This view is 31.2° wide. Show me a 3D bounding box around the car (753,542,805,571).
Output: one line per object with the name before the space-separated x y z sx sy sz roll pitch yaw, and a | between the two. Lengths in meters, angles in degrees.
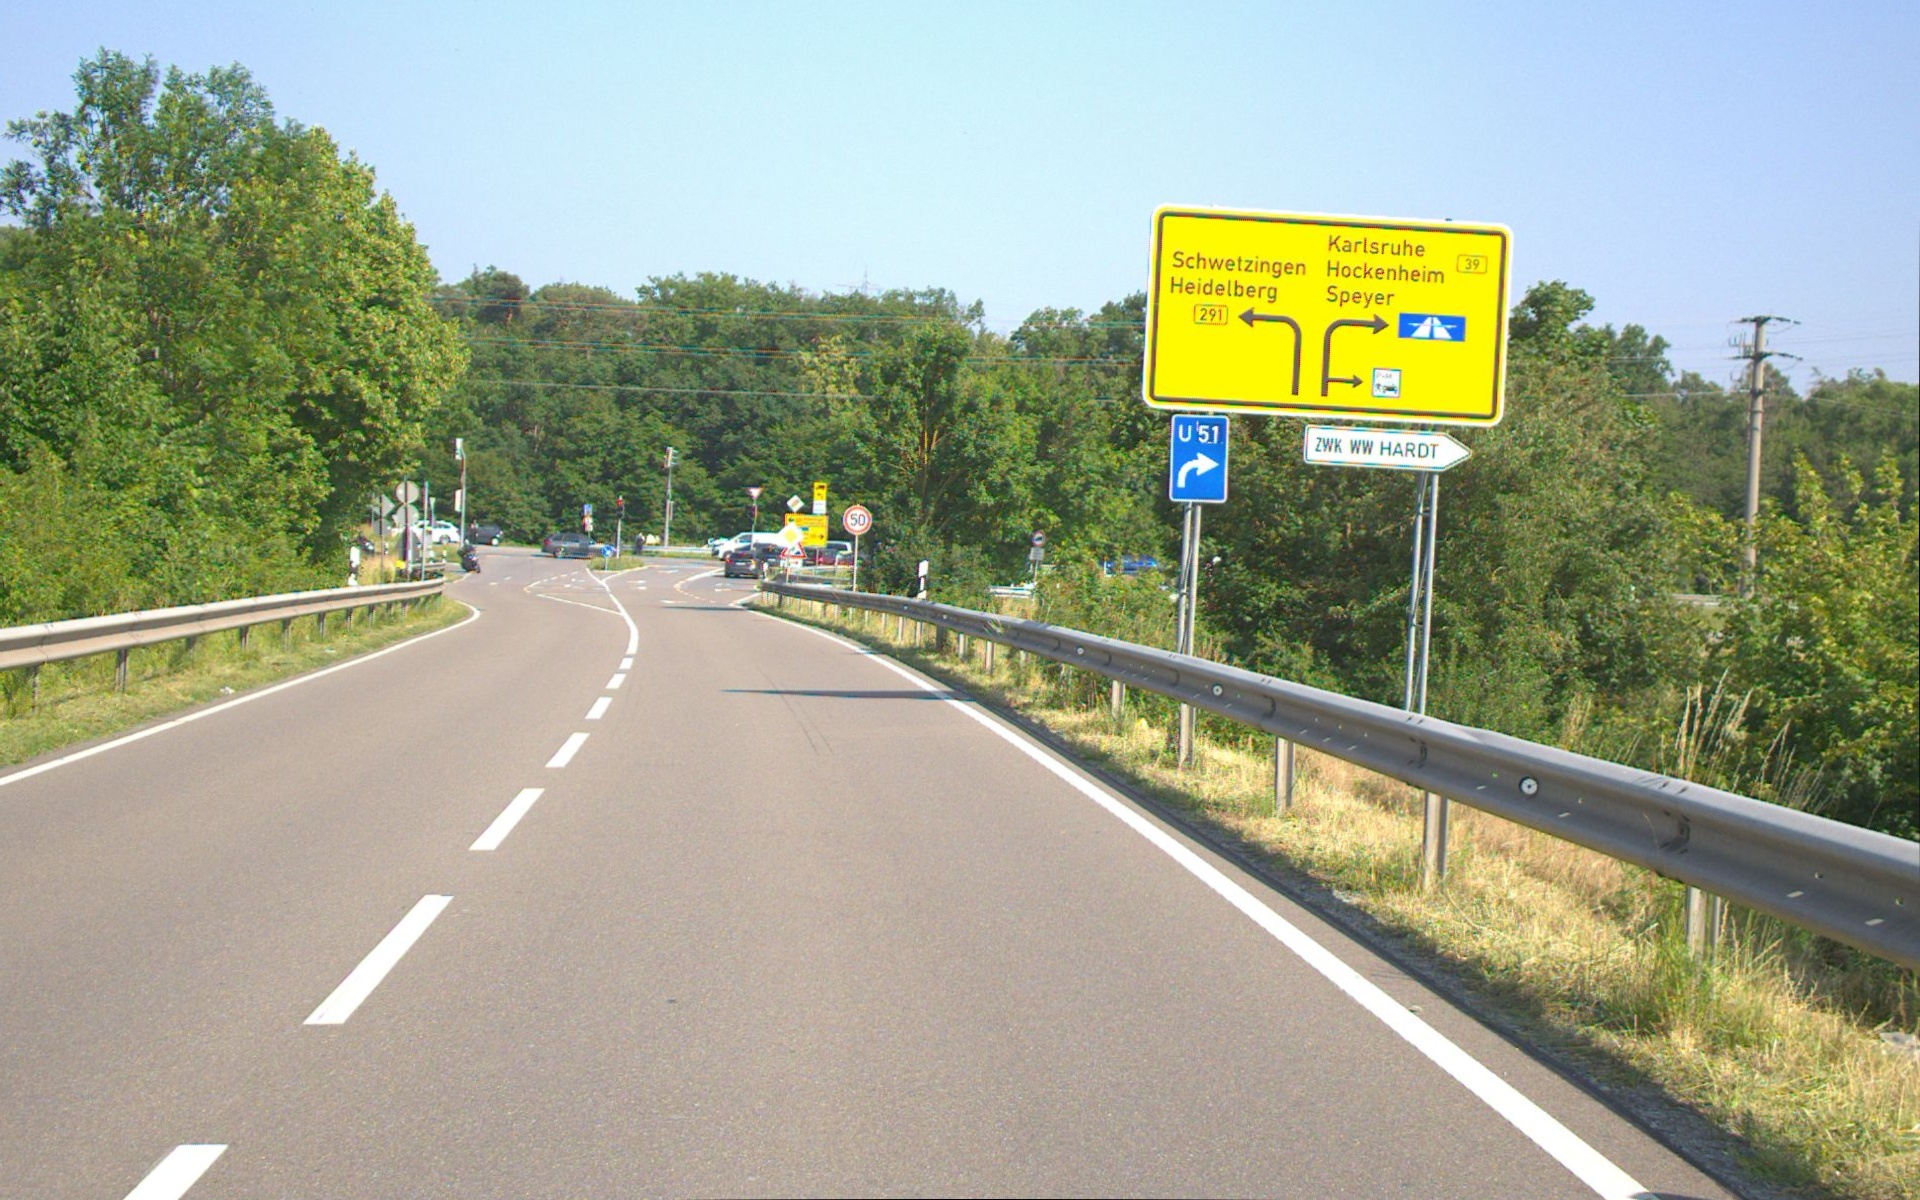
car | -9.871 -2.380 187.303 1.800 1.496 3.998 3 1 12

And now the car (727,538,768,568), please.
car | -11.123 -2.463 179.834 1.799 1.393 4.000 -4 1 0

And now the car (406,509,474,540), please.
car | -33.672 -4.880 222.521 3.986 2.007 1.796 0 1 -26
